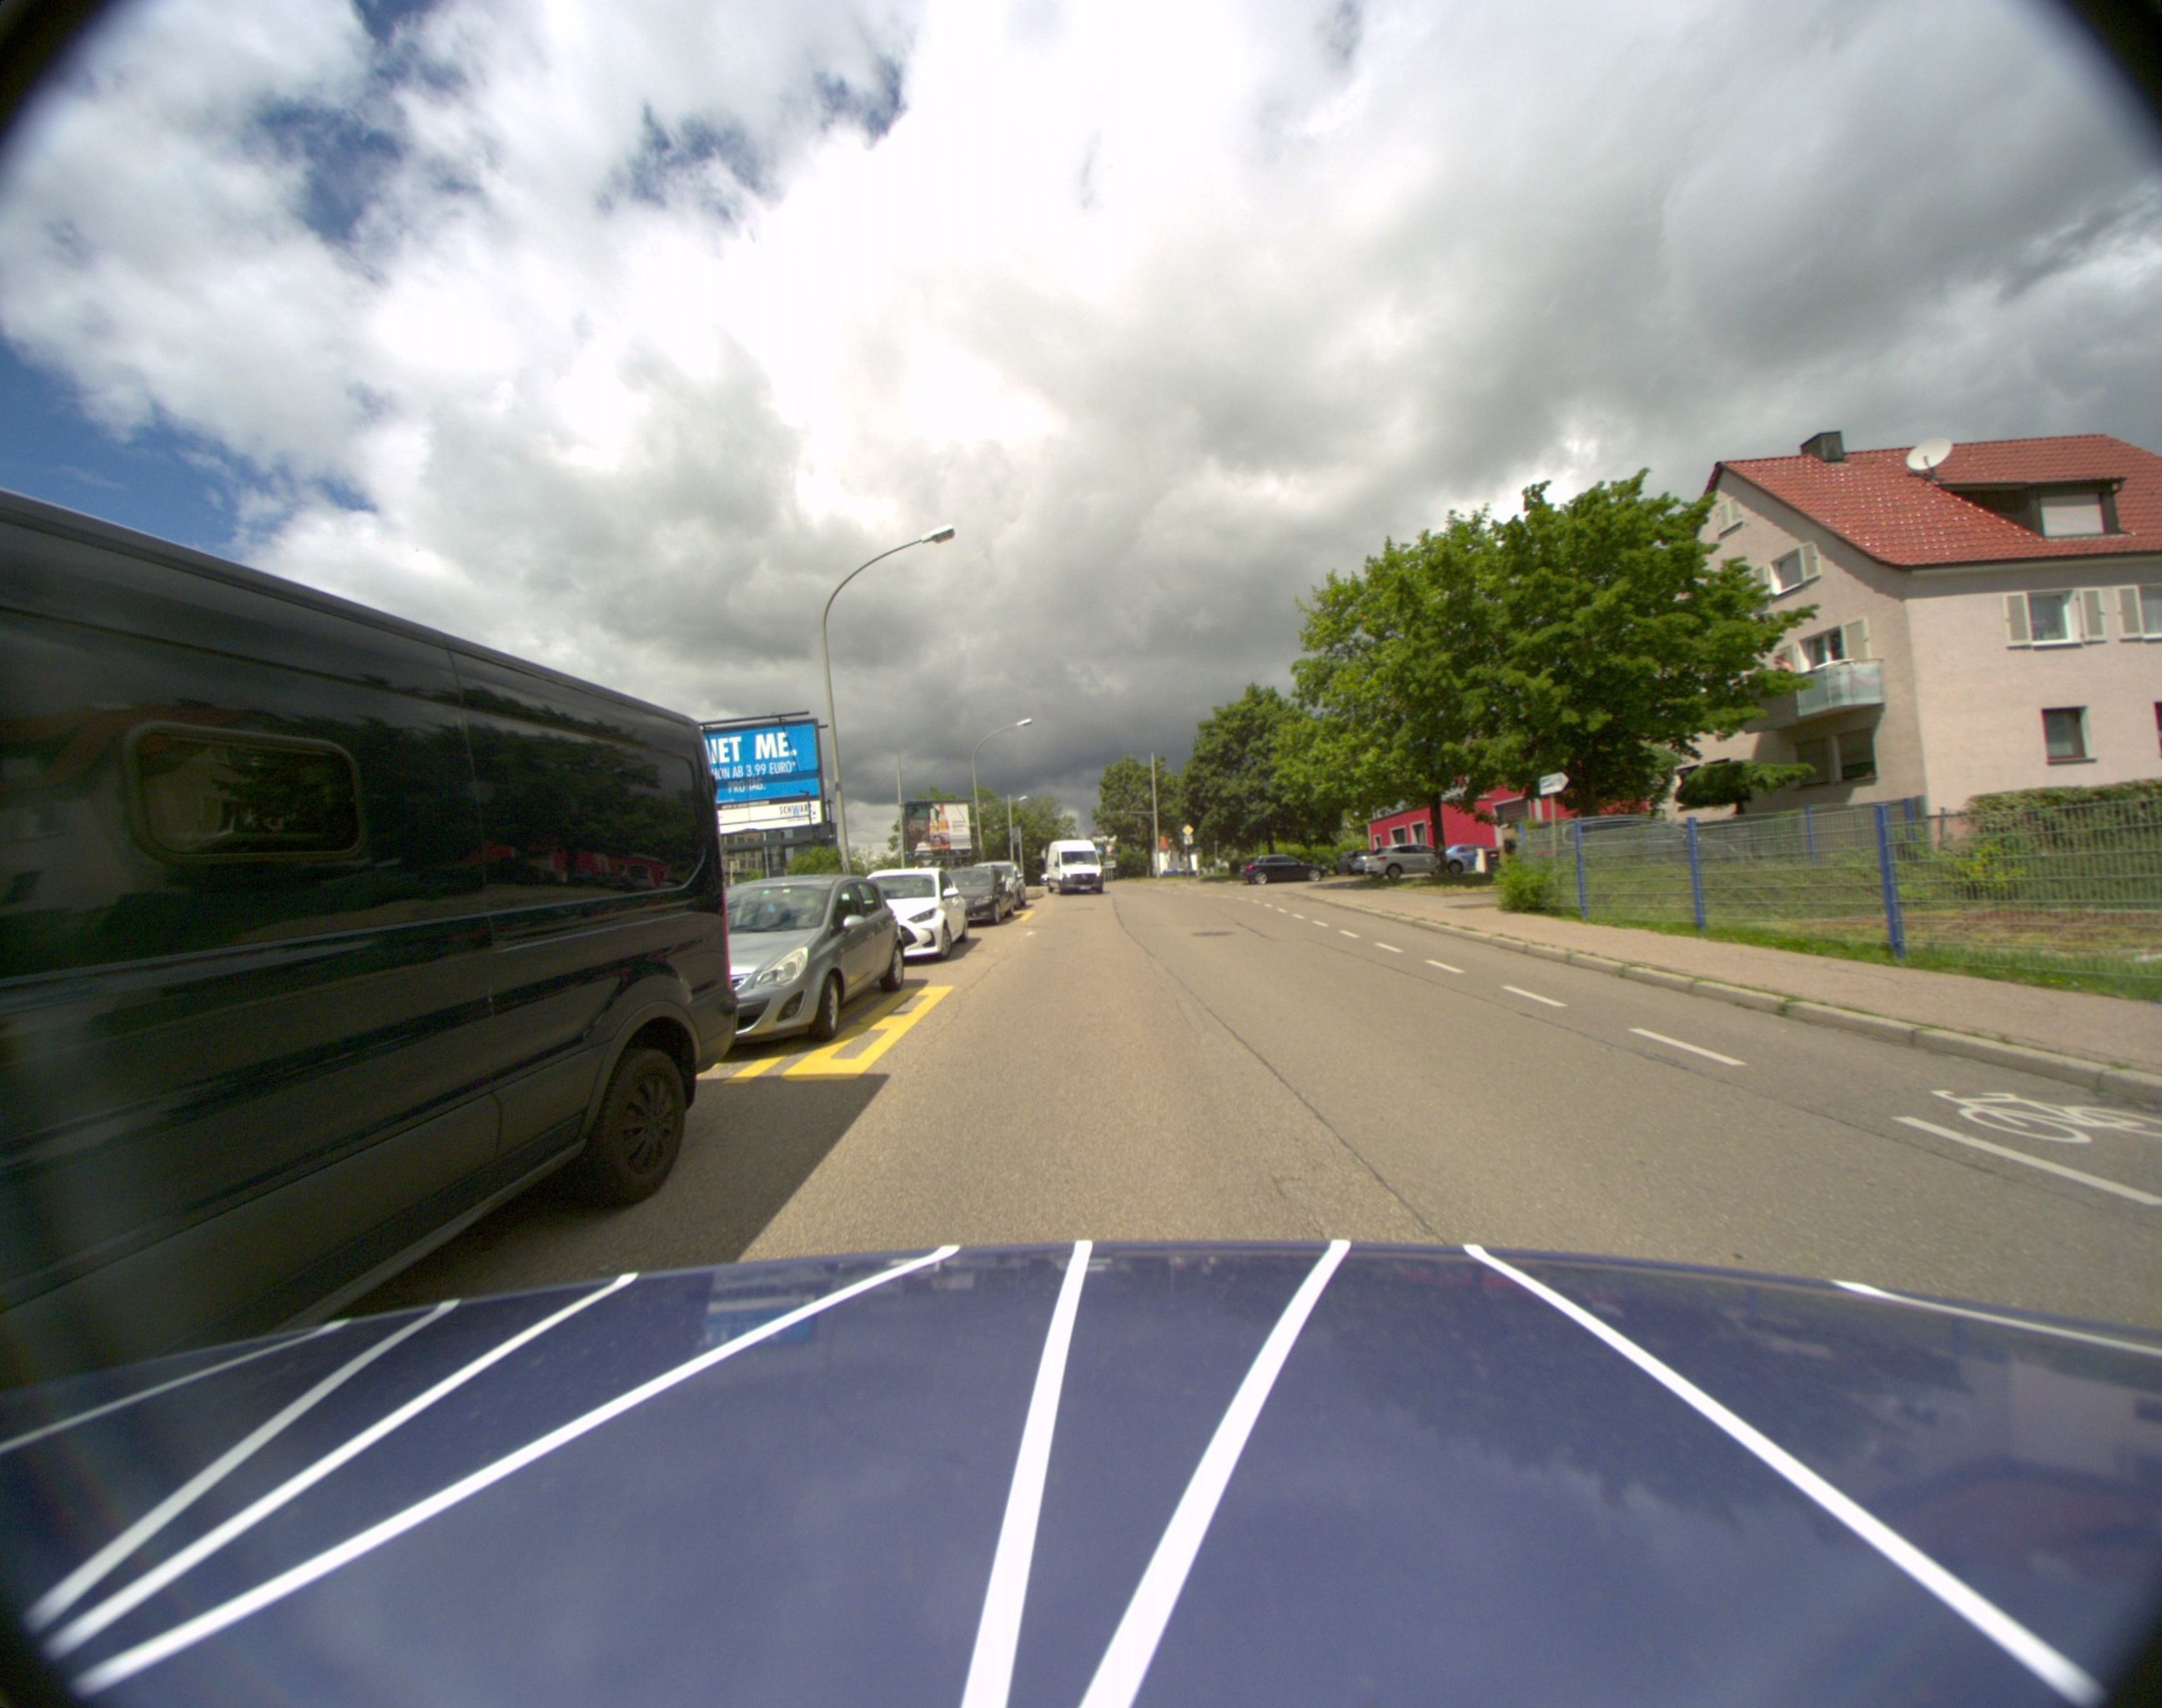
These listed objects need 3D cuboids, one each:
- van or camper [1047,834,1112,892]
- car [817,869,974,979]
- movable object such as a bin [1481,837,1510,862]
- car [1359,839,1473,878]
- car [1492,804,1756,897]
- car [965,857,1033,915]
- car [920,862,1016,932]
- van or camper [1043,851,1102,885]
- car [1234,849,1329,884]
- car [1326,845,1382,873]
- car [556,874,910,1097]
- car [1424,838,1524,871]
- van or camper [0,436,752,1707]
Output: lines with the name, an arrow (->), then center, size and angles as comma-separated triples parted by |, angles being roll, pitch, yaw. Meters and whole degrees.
van or camper -> -0.202, 0.523, 37.191 | 2.194, 2.550, 5.926 | -1, -3, -9
car -> -3.003, 1.076, 13.175 | 1.710, 1.470, 3.957 | -4, -1, -1
movable object such as a bin -> 18.166, -0.189, 33.342 | 0.757, 1.055, 0.881 | -4, 0, 4
car -> 14.060, 0.194, 32.075 | 3.930, 1.395, 1.876 | -3, -1, -3
car -> 12.579, -0.090, 17.845 | 4.710, 1.706, 1.999 | -4, 1, 0
car -> -2.694, 1.024, 25.760 | 1.710, 1.668, 4.308 | -4, -1, 0
car -> -2.790, 1.018, 19.746 | 1.710, 1.478, 4.573 | -4, -1, 0
van or camper -> -0.795, 1.525, 78.251 | 2.266, 2.975, 8.347 | -5, -6, 28
car -> 9.981, 0.620, 38.009 | 4.141, 1.385, 2.000 | -4, -1, 1
car -> 15.666, 0.330, 43.817 | 1.644, 1.417, 4.078 | -4, -1, 0
car -> -3.032, 1.035, 7.561 | 1.710, 1.501, 3.696 | -4, -1, 0
car -> 19.029, 0.052, 36.904 | 3.811, 1.369, 1.843 | -3, -1, 1
van or camper -> -3.114, 0.518, 1.585 | 2.130, 2.570, 5.917 | -3, 0, 0
